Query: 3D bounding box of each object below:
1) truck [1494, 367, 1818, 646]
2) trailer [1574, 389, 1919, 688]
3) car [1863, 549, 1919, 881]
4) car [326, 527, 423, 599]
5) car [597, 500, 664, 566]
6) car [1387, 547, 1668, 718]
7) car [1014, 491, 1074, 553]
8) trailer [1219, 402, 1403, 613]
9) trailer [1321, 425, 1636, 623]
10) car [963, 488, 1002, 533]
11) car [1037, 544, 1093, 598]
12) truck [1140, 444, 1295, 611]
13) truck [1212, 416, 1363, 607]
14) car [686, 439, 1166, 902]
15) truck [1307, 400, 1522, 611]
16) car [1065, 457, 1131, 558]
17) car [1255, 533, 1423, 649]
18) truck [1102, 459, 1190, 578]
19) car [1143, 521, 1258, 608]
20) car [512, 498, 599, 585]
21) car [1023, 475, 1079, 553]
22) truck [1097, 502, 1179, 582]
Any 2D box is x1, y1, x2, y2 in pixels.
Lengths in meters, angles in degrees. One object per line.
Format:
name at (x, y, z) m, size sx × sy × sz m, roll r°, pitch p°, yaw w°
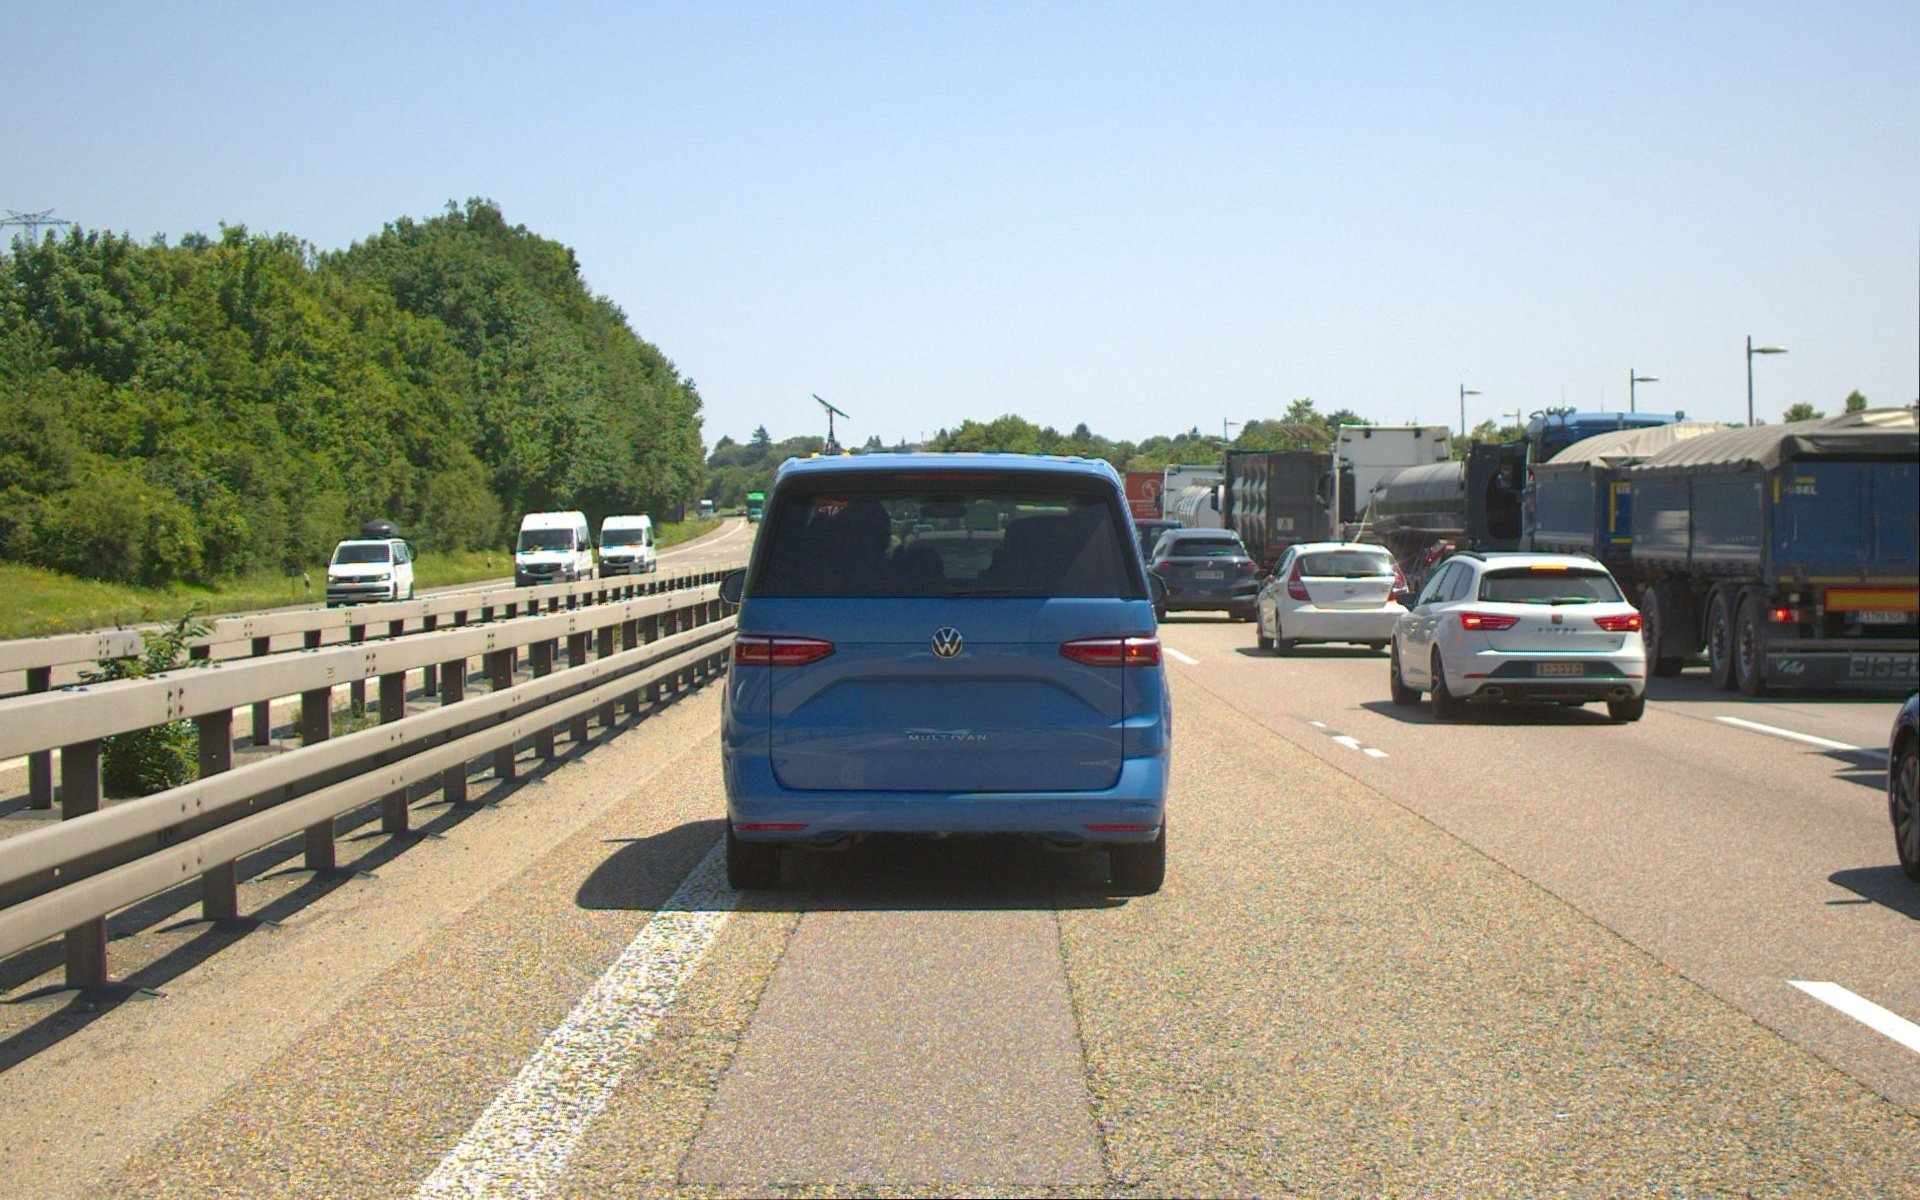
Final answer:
truck at (8.893, -1.237, 44.793) m, size 2.744 × 3.300 × 7.133 m, roll 1°, pitch 2°, yaw 0°
trailer at (8.866, -0.728, 37.387) m, size 2.744 × 2.827 × 9.116 m, roll 1°, pitch 2°, yaw 0°
car at (4.991, 0.518, 13.578) m, size 1.706 × 1.436 × 4.428 m, roll 1°, pitch 0°, yaw 1°
car at (-16.577, -1.042, 97.605) m, size 1.864 × 1.898 × 5.493 m, roll -2°, pitch 0°, yaw -1°
car at (-13.336, -2.694, 139.483) m, size 2.156 × 2.585 × 5.890 m, roll -1°, pitch 0°, yaw 0°
car at (4.878, 0.234, 30.064) m, size 1.867 × 1.356 × 4.000 m, roll 1°, pitch 1°, yaw 1°
car at (3.847, -3.582, 158.420) m, size 2.551 × 2.708 × 5.621 m, roll 1°, pitch 0°, yaw 0°
trailer at (9.107, -2.316, 91.004) m, size 3.646 × 5.119 × 13.075 m, roll 1°, pitch 0°, yaw 1°
trailer at (9.018, -1.254, 62.188) m, size 3.646 × 3.068 × 15.771 m, roll 1°, pitch 0°, yaw 1°
car at (1.654, -6.715, 257.987) m, size 2.485 × 3.193 × 7.373 m, roll 1°, pitch 0°, yaw -3°
car at (3.997, -1.104, 131.609) m, size 1.993 × 2.007 × 4.000 m, roll 1°, pitch 0°, yaw 0°
truck at (8.507, -2.331, 115.861) m, size 3.621 × 5.195 × 15.690 m, roll 1°, pitch 0°, yaw -1°
truck at (9.192, -2.449, 97.197) m, size 3.658 × 5.162 × 5.709 m, roll 1°, pitch 0°, yaw 0°
car at (-0.087, 0.269, 15.823) m, size 1.901 × 1.831 × 4.000 m, roll 1°, pitch 0°, yaw 1°
truck at (9.324, -1.884, 71.409) m, size 3.626 × 4.080 × 7.524 m, roll 1°, pitch 0°, yaw 2°
car at (7.434, -4.967, 186.140) m, size 3.218 × 5.239 × 8.144 m, roll 1°, pitch 0°, yaw 0°
car at (5.030, -0.126, 46.074) m, size 1.840 × 1.449 × 4.000 m, roll 1°, pitch 0°, yaw 1°
truck at (7.939, -3.423, 148.043) m, size 3.068 × 4.903 × 10.690 m, roll 1°, pitch 0°, yaw 0°
car at (4.360, -0.639, 62.771) m, size 1.781 × 1.519 × 4.000 m, roll 1°, pitch 0°, yaw 0°
car at (-12.763, -1.827, 108.804) m, size 2.052 × 2.642 × 5.839 m, roll -1°, pitch 0°, yaw -1°
car at (6.349, -5.974, 241.283) m, size 3.218 × 5.239 × 8.145 m, roll 1°, pitch 0°, yaw -3°
truck at (4.271, -1.382, 83.027) m, size 1.725 × 1.851 × 4.000 m, roll 1°, pitch 0°, yaw 0°
